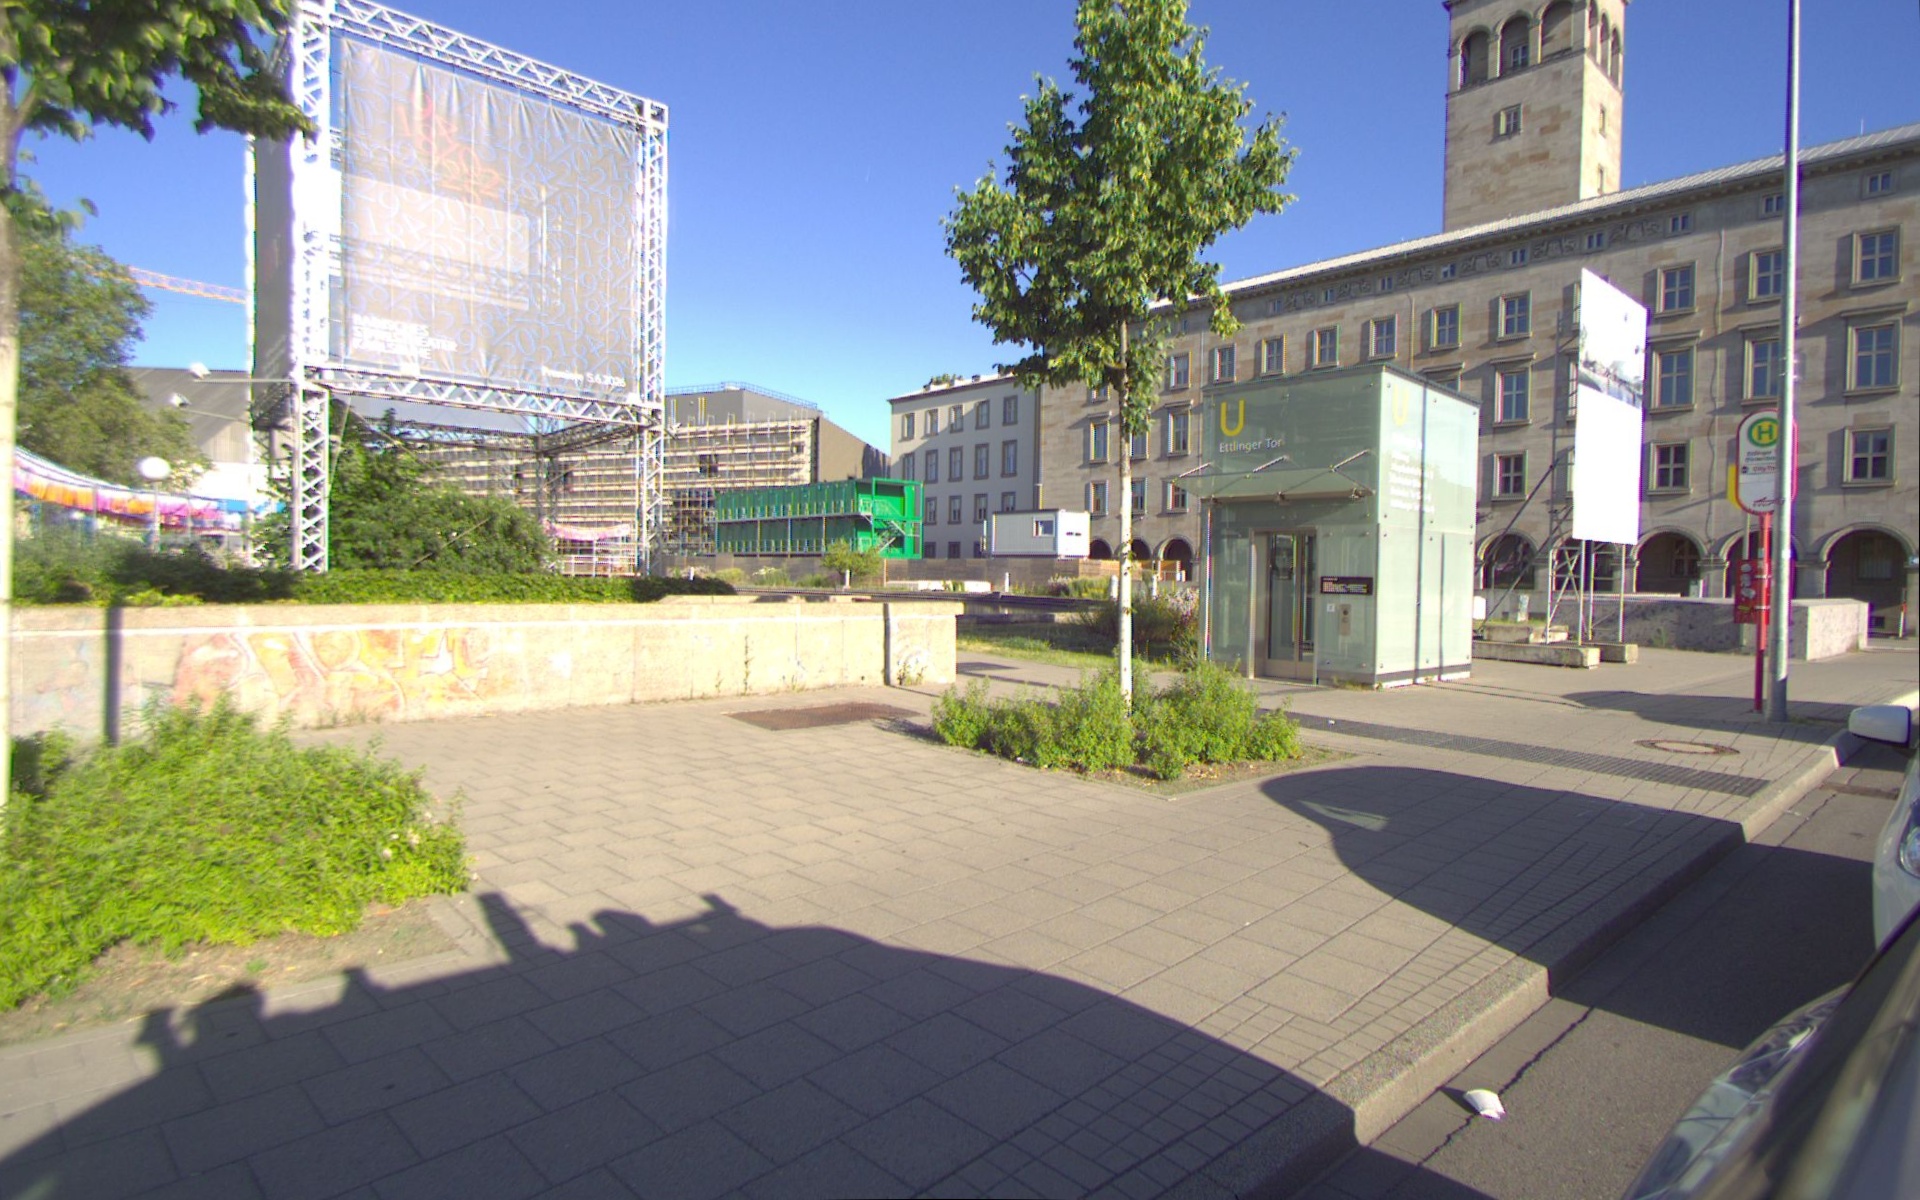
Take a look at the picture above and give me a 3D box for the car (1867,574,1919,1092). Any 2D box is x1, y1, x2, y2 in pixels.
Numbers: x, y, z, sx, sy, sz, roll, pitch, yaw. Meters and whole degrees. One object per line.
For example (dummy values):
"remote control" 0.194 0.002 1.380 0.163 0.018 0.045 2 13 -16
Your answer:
"car" 4.643 0.678 3.666 3.930 1.473 1.518 0 2 -41
